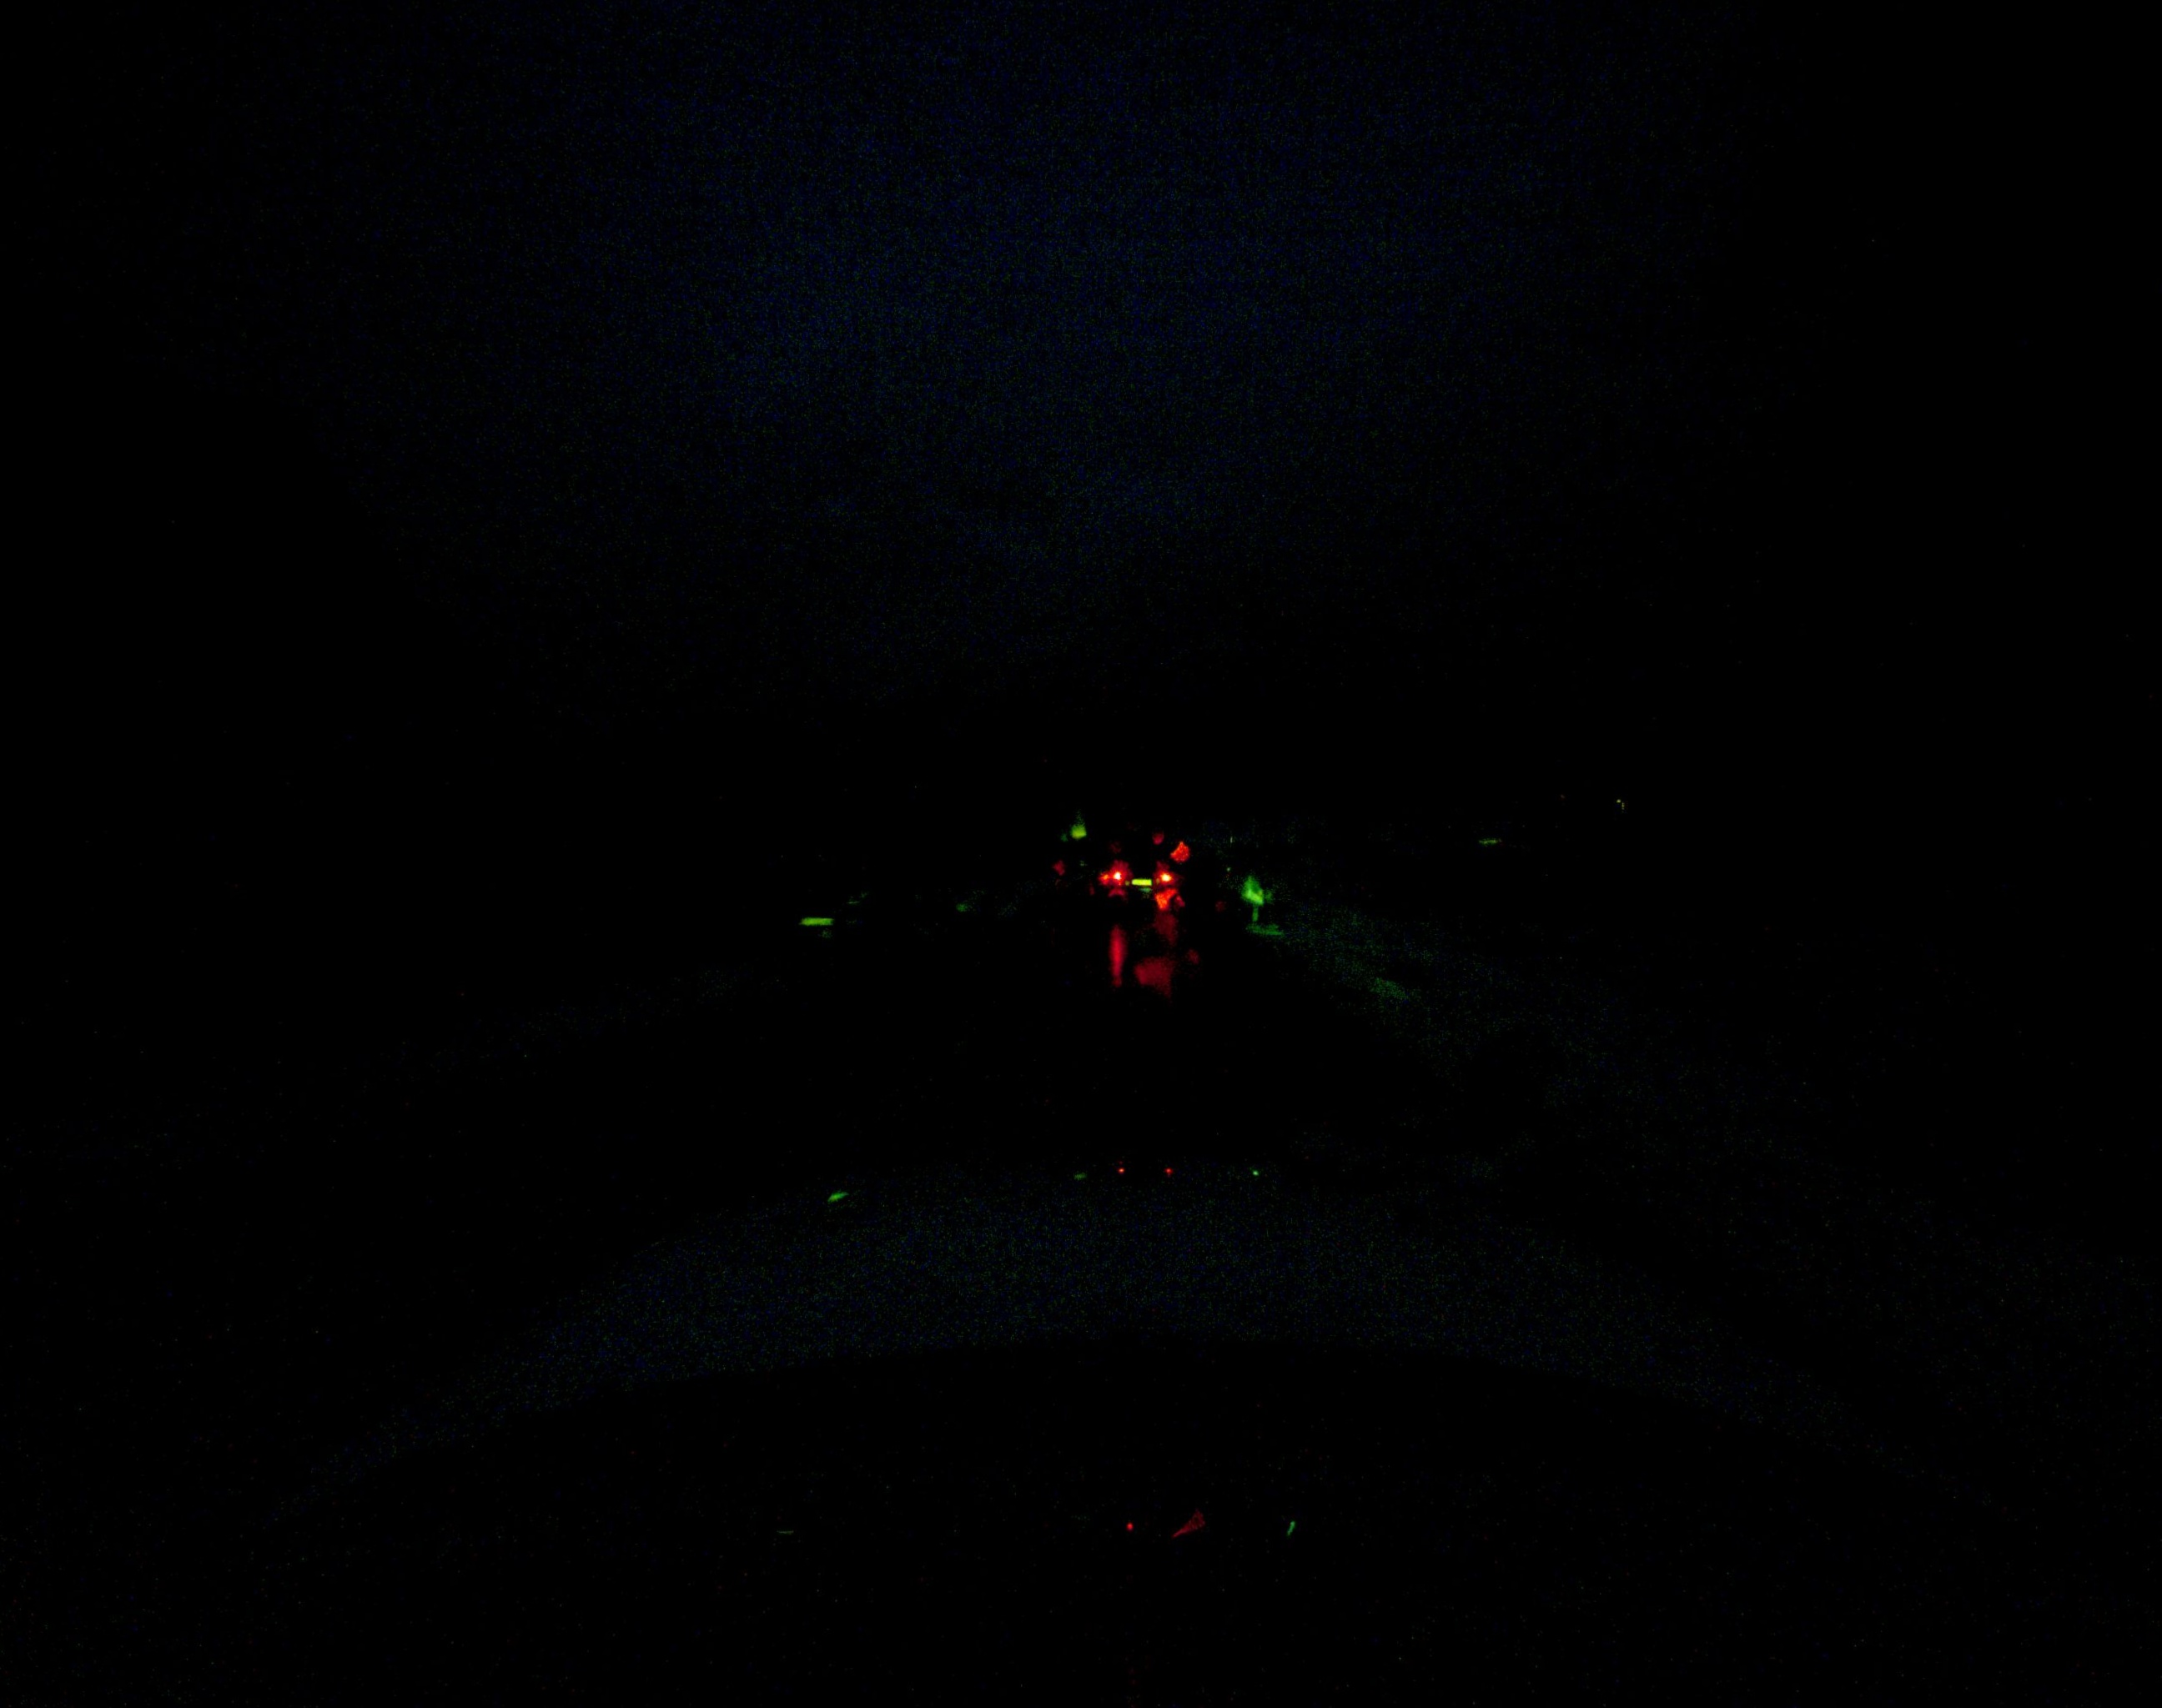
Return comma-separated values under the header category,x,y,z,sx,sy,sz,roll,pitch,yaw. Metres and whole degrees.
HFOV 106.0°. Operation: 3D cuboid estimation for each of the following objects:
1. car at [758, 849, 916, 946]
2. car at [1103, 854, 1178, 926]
category,x,y,z,sx,sy,sz,roll,pitch,yaw
car,-4.298,0.695,14.928,1.712,1.534,3.519,-1,1,2
car,1.599,0.954,22.873,1.816,1.797,3.577,2,-1,0
